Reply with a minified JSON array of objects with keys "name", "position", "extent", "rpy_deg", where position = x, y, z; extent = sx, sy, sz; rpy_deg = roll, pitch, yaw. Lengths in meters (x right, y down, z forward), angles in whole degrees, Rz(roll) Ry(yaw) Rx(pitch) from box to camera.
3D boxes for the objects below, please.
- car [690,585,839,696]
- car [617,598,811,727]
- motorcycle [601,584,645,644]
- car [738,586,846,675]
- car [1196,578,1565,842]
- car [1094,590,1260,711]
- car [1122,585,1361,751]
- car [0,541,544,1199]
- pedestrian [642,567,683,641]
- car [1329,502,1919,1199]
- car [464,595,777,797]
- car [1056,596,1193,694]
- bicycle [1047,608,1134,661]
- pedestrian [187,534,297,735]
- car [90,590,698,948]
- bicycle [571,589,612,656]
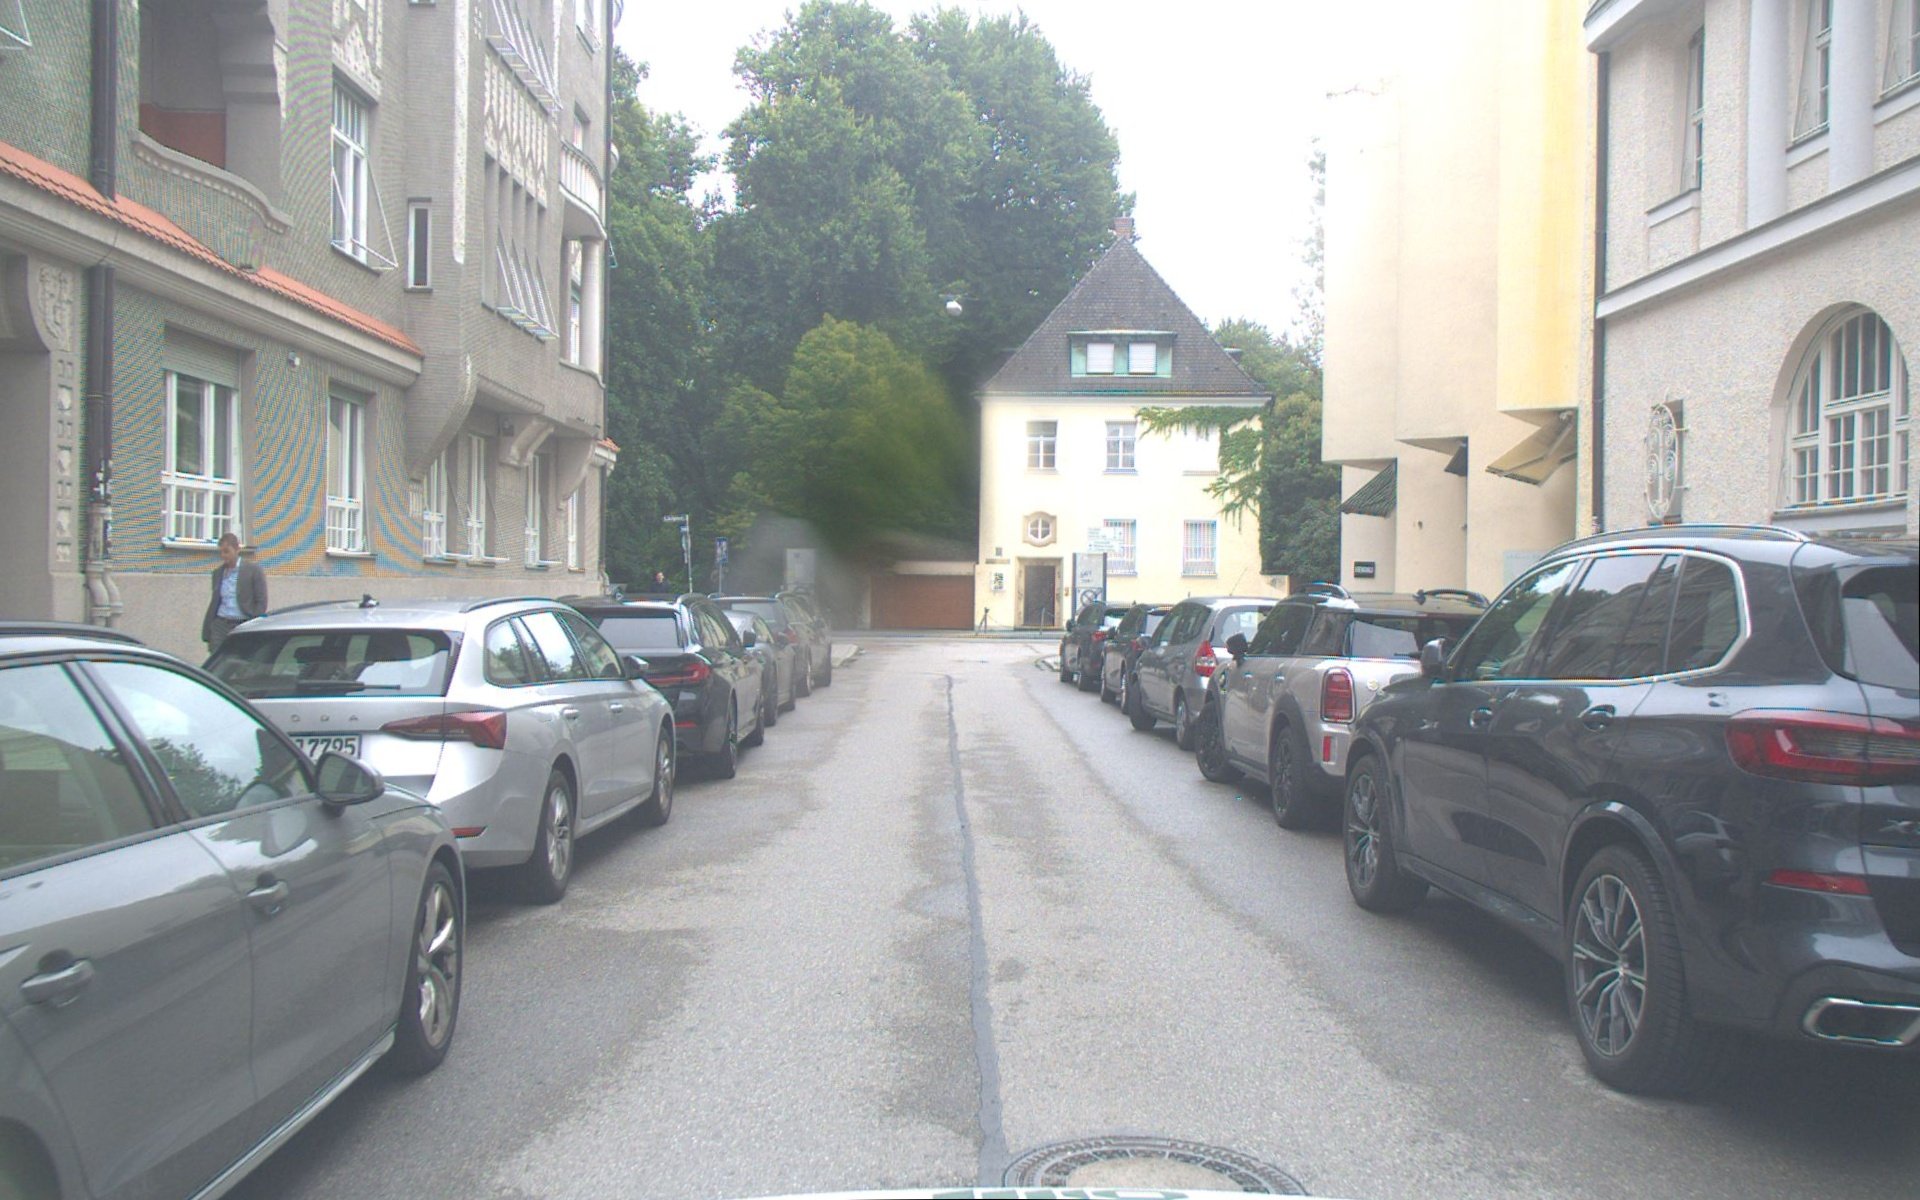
[{"name":"car","position":[-2.901,0.550,25.425],"extent":[1.719,1.541,4.707],"rpy_deg":[0,0,0]},{"name":"car","position":[-2.841,0.676,19.926],"extent":[1.719,1.354,4.096],"rpy_deg":[0,0,0]},{"name":"motorcycle","position":[-8.419,0.336,41.436],"extent":[0.721,1.466,2.146],"rpy_deg":[1,0,-2]},{"name":"car","position":[-3.038,0.521,30.387],"extent":[1.669,1.541,2.911],"rpy_deg":[0,0,0]},{"name":"car","position":[2.896,0.672,12.256],"extent":[1.601,1.620,3.967],"rpy_deg":[1,0,-2]},{"name":"car","position":[2.906,0.632,22.854],"extent":[1.601,1.497,3.853],"rpy_deg":[1,0,-3]},{"name":"car","position":[2.882,0.641,17.709],"extent":[1.602,1.563,3.851],"rpy_deg":[1,0,-5]},{"name":"car","position":[-2.305,0.686,3.591],"extent":[1.800,1.539,4.606],"rpy_deg":[-1,0,-3]},{"name":"pedestrian","position":[-7.476,0.092,41.571],"extent":[0.821,1.818,0.936],"rpy_deg":[1,0,2]},{"name":"car","position":[3.001,0.626,6.451],"extent":[1.953,1.718,4.673],"rpy_deg":[2,0,-1]},{"name":"car","position":[-2.766,0.701,14.601],"extent":[1.953,1.474,4.777],"rpy_deg":[0,0,-2]},{"name":"car","position":[2.715,0.695,28.281],"extent":[1.659,1.497,4.608],"rpy_deg":[1,0,-3]},{"name":"bicycle","position":[2.815,0.730,35.672],"extent":[1.756,1.104,0.665],"rpy_deg":[0,2,26]},{"name":"pedestrian","position":[-6.789,0.314,15.664],"extent":[0.702,1.849,0.730],"rpy_deg":[1,0,-2]},{"name":"car","position":[-2.718,0.694,9.135],"extent":[1.768,1.456,4.439],"rpy_deg":[-1,1,1]},{"name":"bicycle","position":[-7.772,0.456,34.915],"extent":[0.606,1.373,1.673],"rpy_deg":[1,0,-5]}]
